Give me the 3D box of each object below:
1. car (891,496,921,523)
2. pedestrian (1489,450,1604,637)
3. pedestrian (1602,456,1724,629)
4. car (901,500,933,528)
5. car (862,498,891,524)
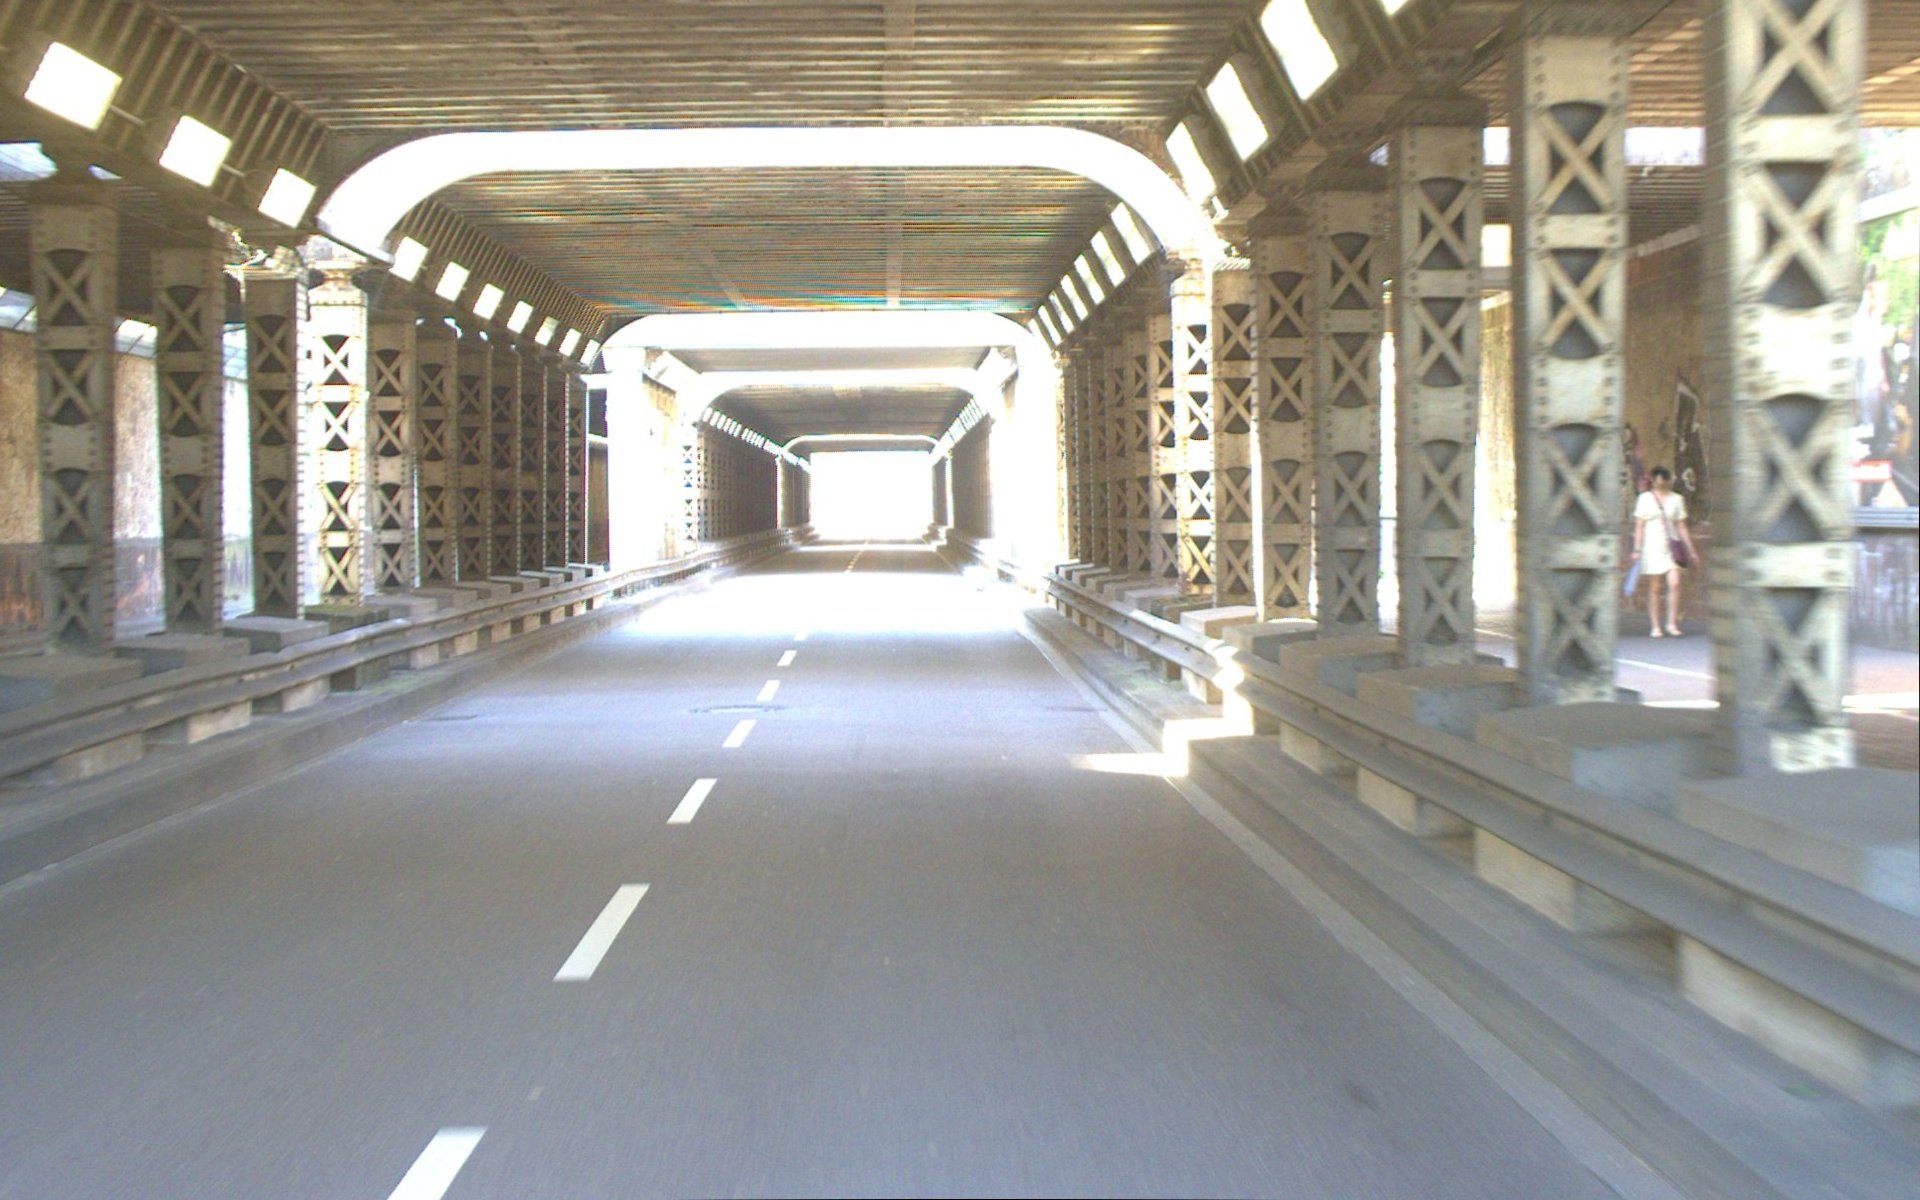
[{"bbox_3d":[-3.669,-6.122,232.977,1.993,1.778,4.001,-1,2,-1],"label":"car"},{"bbox_3d":[5.929,-0.577,34.798,0.880,1.829,0.923,-3,2,-4],"label":"pedestrian"},{"bbox_3d":[6.941,-0.579,33.997,0.916,1.650,0.886,-3,2,-4],"label":"pedestrian"},{"bbox_3d":[-2.816,-5.613,223.781,1.993,1.778,4.001,-1,2,-1],"label":"car"},{"bbox_3d":[-5.825,-6.216,239.354,1.993,1.778,4.001,-1,2,-1],"label":"car"}]
